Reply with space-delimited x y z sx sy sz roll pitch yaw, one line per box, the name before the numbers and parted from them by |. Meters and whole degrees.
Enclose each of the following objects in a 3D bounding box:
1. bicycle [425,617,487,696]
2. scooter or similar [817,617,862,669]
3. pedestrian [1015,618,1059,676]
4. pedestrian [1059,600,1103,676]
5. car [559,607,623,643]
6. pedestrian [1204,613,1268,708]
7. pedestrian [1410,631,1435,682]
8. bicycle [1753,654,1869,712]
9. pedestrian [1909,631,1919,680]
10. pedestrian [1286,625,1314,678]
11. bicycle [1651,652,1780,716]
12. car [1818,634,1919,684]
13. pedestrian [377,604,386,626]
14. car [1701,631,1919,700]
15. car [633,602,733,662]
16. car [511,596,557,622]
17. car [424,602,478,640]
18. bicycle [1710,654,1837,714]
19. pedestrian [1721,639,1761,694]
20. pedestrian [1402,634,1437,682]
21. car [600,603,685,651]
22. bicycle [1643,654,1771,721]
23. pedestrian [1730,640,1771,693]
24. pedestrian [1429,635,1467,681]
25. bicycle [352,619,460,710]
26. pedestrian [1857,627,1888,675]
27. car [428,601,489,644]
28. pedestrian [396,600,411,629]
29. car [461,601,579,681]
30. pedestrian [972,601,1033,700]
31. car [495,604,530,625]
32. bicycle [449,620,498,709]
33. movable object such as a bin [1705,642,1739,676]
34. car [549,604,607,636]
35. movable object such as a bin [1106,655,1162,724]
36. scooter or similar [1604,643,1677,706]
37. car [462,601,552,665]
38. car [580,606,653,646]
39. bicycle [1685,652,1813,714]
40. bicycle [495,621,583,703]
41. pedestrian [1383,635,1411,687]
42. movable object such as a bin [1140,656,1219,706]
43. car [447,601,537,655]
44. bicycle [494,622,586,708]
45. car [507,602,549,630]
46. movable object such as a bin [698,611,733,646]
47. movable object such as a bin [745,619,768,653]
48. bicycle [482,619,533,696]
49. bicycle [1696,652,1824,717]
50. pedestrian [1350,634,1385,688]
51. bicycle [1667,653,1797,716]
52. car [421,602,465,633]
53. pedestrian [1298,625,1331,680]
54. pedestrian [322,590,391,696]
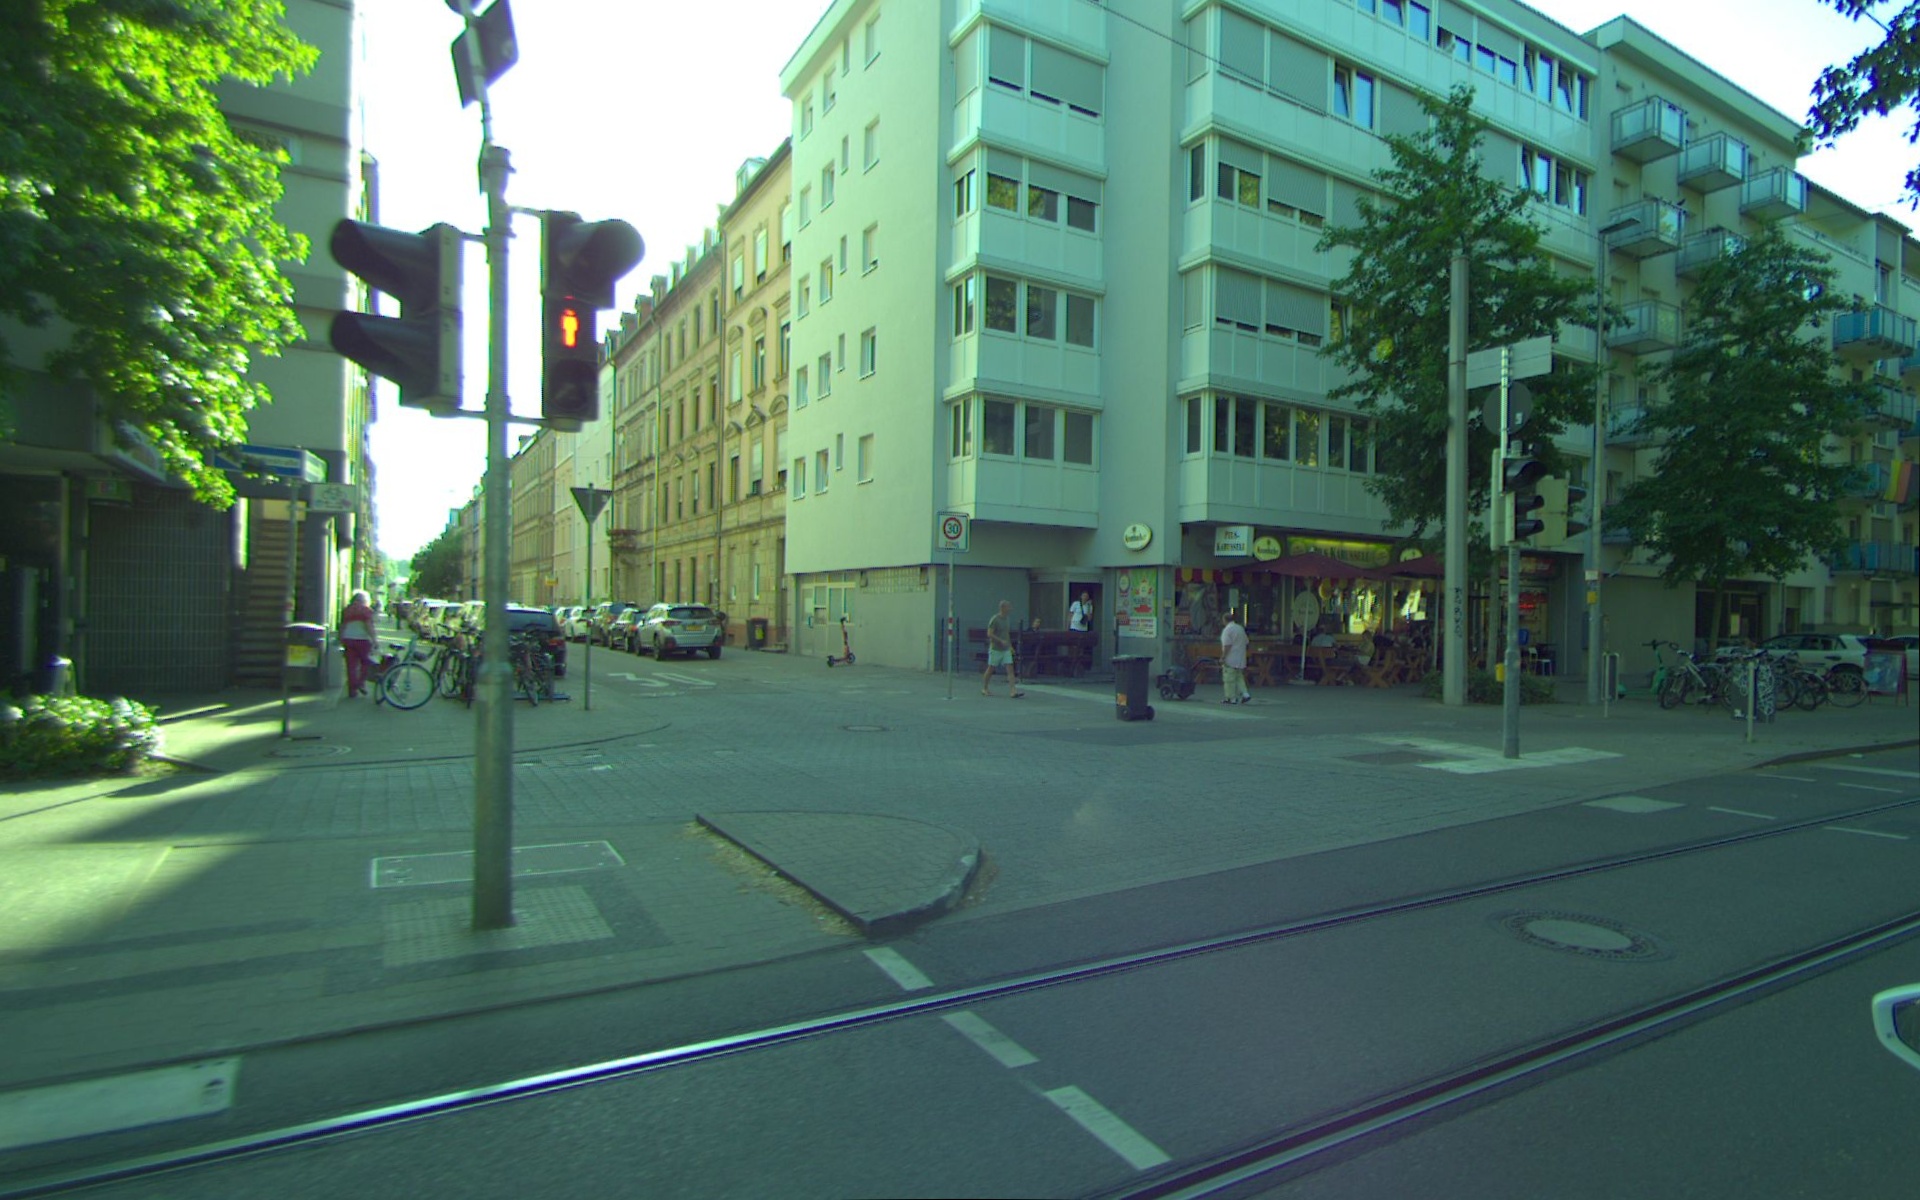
bicycle | -8.057 0.870 16.016 0.567 1.172 1.771 2 -1 -37
scooter or similar | -3.032 1.070 25.370 0.489 1.276 1.306 1 -1 24
pedestrian | 1.728 1.036 22.463 0.735 1.258 0.768 1 -1 26
pedestrian | 2.731 0.846 22.715 0.756 1.681 0.747 1 -1 -15
car | -15.410 1.010 41.827 1.868 1.402 3.968 2 -1 -30
pedestrian | 4.726 1.019 17.189 0.761 1.577 0.720 2 -1 -36
pedestrian | 11.287 1.367 24.511 0.504 1.214 0.562 1 -1 31
bicycle | 17.309 1.670 20.471 0.651 1.020 1.680 2 0 -35
pedestrian | 33.704 1.942 34.978 0.786 1.713 0.759 2 -1 -32
pedestrian | 7.899 1.184 23.308 0.553 1.214 0.513 1 -1 25
bicycle | 14.164 1.555 18.877 0.651 1.020 1.817 2 0 -35
car | 31.452 1.998 33.477 1.832 1.495 3.990 2 0 -32
pedestrian | -41.641 1.106 72.300 0.568 1.577 0.523 2 -1 -31
car | 22.240 1.675 26.424 1.829 1.495 3.994 2 0 -29
car | -8.133 0.895 29.297 1.868 1.602 3.968 2 -1 -30
car | -23.892 0.498 56.246 1.868 1.402 3.968 2 -1 -30
car | -21.791 0.878 42.934 1.872 1.524 3.753 2 -1 -29
bicycle | 16.069 1.630 19.886 0.651 1.020 1.817 2 0 -35
pedestrian | 19.364 1.644 24.904 0.743 1.314 0.705 2 -1 -44
pedestrian | 11.934 1.488 26.088 0.617 1.214 0.559 2 -1 -31
car | -10.643 0.870 33.524 1.868 1.498 3.968 2 -1 -30
bicycle | 13.134 1.515 17.708 0.651 1.020 1.680 2 0 -35
pedestrian | 20.280 1.687 25.772 0.906 1.314 0.705 2 -1 -44
pedestrian | 13.000 1.539 26.784 0.648 1.214 0.669 2 -1 -31
bicycle | -7.814 0.871 14.136 2.005 1.172 0.570 1 -1 38
pedestrian | 33.849 1.890 37.271 0.740 1.713 0.660 2 -1 -32
car | -19.186 0.831 38.326 1.872 1.524 3.753 2 -1 -29
pedestrian | -30.519 0.816 55.083 0.658 1.577 0.719 2 -1 -34
car | -9.501 0.819 21.518 1.872 1.524 4.261 2 -1 -29
pedestrian | 0.753 0.871 17.746 0.761 1.693 0.752 2 -1 -36
car | -31.603 1.029 70.892 1.868 1.402 3.968 2 -1 -30
bicycle | -7.006 0.892 14.491 0.564 1.172 1.852 2 -1 -26
movable object such as a bin | 24.204 1.871 31.925 0.614 1.069 0.675 2 -1 -29
car | -17.627 0.906 46.218 1.868 1.402 3.968 2 -1 -30
movable object such as a bin | 2.524 1.286 14.577 0.533 0.944 0.646 0 -1 43
scooter or similar | 13.792 1.500 20.375 0.493 1.192 1.074 2 0 -31
car | -11.915 0.827 26.295 1.783 1.524 3.753 2 -1 -29
car | -12.953 0.941 37.714 1.868 1.402 3.968 2 -1 -30
bicycle | 15.145 1.576 19.325 0.651 1.020 1.817 2 0 -35
bicycle | -6.455 0.924 15.511 0.561 1.172 1.790 1 -1 1
pedestrian | 10.509 1.453 24.142 0.591 1.214 0.691 1 -1 25
movable object such as a bin | 3.870 1.415 17.712 1.178 0.767 0.663 2 0 38
car | -14.316 0.831 30.634 1.876 1.524 3.746 2 -1 -34
bicycle | -6.156 0.926 14.812 0.561 1.172 1.790 1 -1 1
car | -26.220 0.935 60.838 1.868 1.602 3.968 2 -1 -30
movable object such as a bin | -9.073 1.042 37.226 0.702 1.267 2.100 2 -1 -29
movable object such as a bin | -6.633 1.168 32.793 0.640 1.071 0.538 2 -1 -21
bicycle | -7.340 0.910 16.341 0.563 1.172 1.782 1 -1 -19
bicycle | 15.445 1.607 19.434 0.651 1.078 1.817 2 0 -35
pedestrian | 9.440 1.411 23.263 0.557 1.214 0.509 2 -1 -29
bicycle | 14.581 1.581 19.023 0.651 1.020 1.817 2 0 -35
car | -26.945 0.887 52.272 1.872 1.524 3.753 2 -1 -29
pedestrian | 7.950 1.173 22.518 0.506 1.214 0.560 0 -1 43
pedestrian | -9.234 0.649 15.395 0.714 1.577 0.725 1 -1 -17
